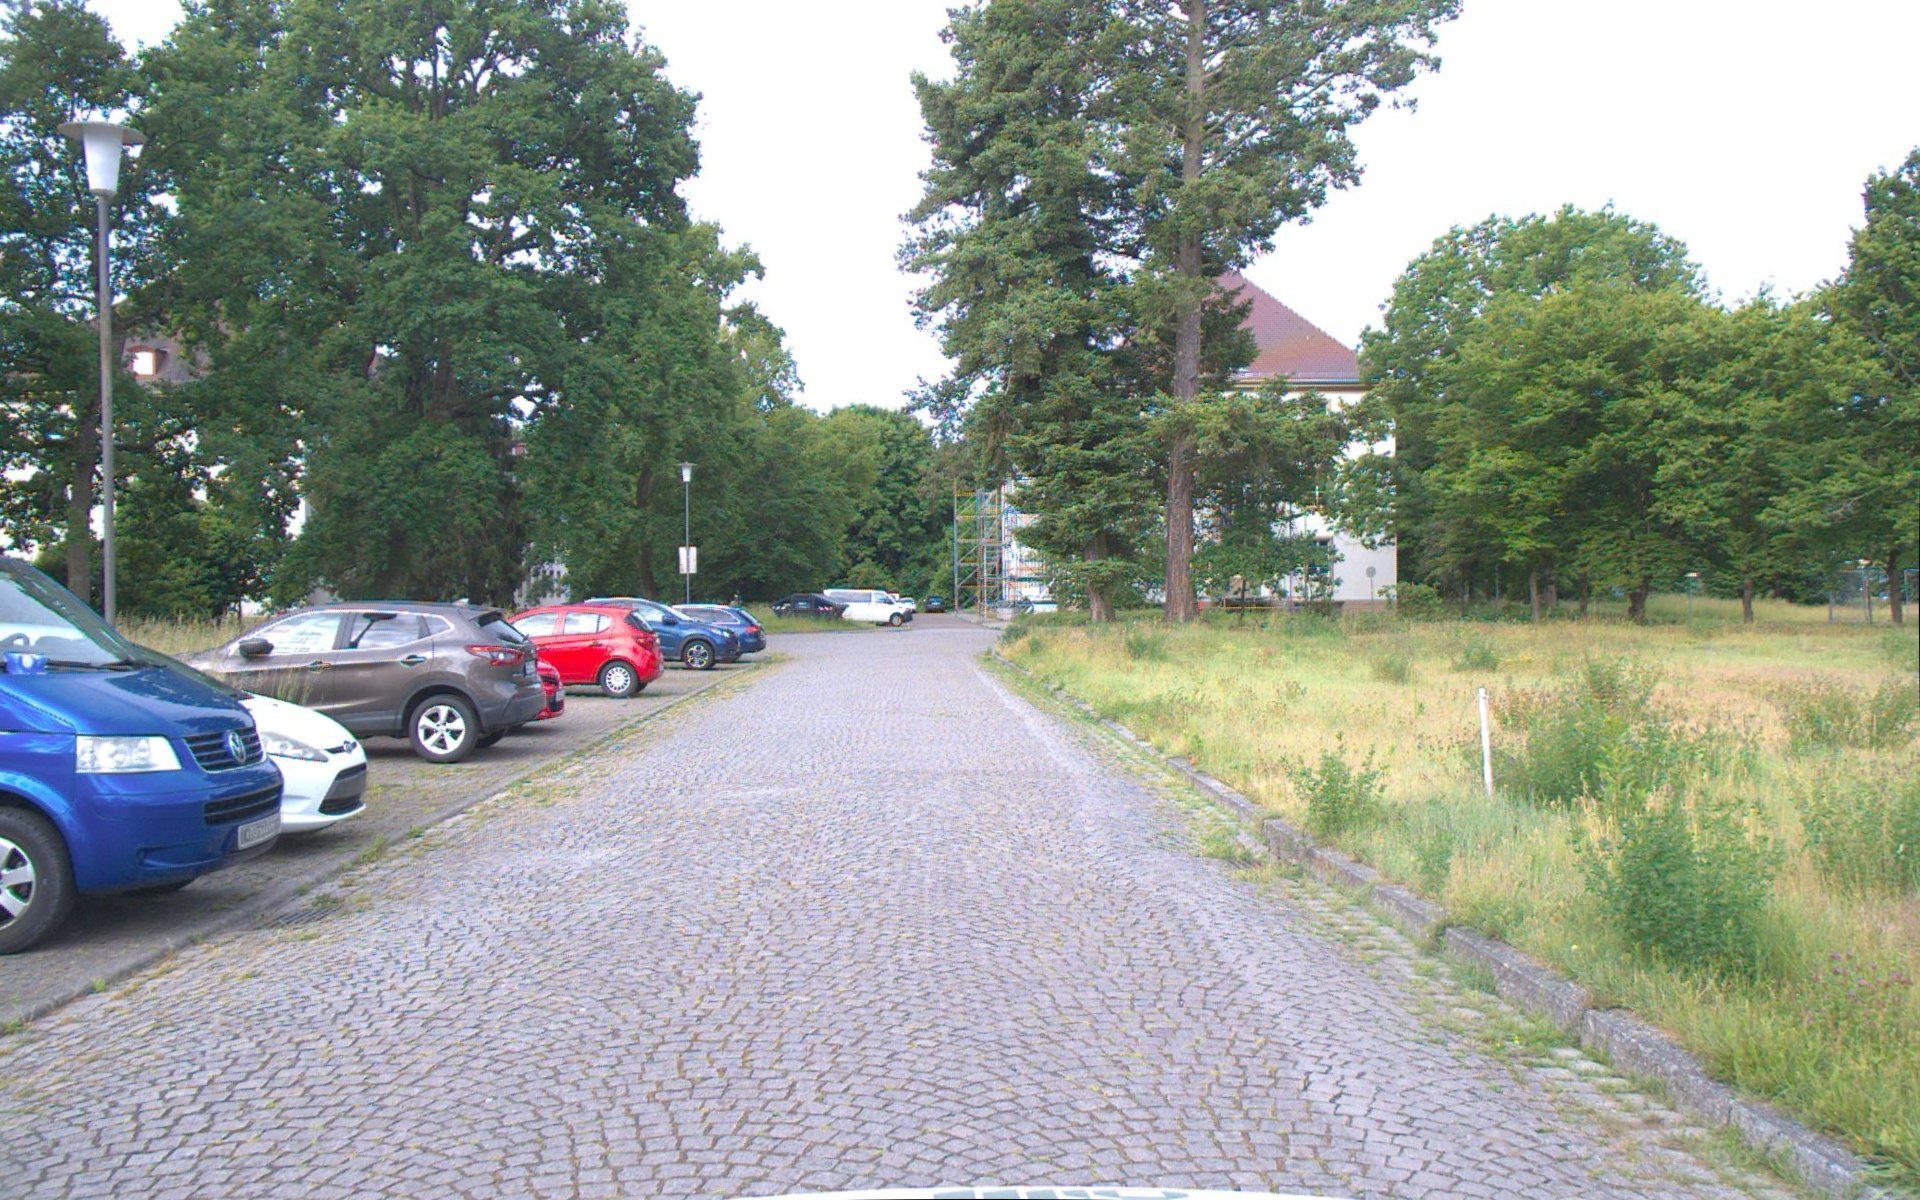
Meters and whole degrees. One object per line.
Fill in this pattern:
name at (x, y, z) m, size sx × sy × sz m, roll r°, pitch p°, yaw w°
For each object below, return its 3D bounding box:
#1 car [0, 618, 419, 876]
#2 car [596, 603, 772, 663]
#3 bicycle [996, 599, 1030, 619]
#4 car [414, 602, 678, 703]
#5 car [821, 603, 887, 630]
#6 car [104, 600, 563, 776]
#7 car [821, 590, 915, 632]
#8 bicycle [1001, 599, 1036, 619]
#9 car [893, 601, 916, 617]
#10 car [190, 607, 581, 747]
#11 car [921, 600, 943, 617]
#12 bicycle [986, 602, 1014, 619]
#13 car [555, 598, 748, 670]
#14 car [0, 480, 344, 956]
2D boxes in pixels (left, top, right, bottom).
car at (-5.960, 0.933, 11.096) m, size 4.084 × 1.536 × 1.780 m, roll -1°, pitch 0°, yaw -5°
car at (-7.060, 0.829, 42.699) m, size 4.215 × 1.486 × 1.974 m, roll 0°, pitch 0°, yaw -1°
bicycle at (3.497, 0.612, 109.218) m, size 2.194 × 1.276 × 0.777 m, roll -1°, pitch 0°, yaw 0°
car at (-6.858, 0.849, 27.730) m, size 3.975 × 1.552 × 1.903 m, roll -1°, pitch 0°, yaw -4°
car at (-6.063, 0.930, 94.179) m, size 3.715 × 1.420 × 1.998 m, roll -1°, pitch 0°, yaw -5°
car at (-6.419, 0.860, 17.372) m, size 4.085 × 1.650 × 1.985 m, roll -1°, pitch 0°, yaw -5°
car at (-5.128, 0.595, 91.627) m, size 5.132 × 2.206 × 1.998 m, roll -1°, pitch 0°, yaw -5°
bicycle at (3.707, 0.567, 104.969) m, size 2.194 × 1.276 × 0.777 m, roll -1°, pitch 0°, yaw 0°
car at (-5.266, 0.867, 157.646) m, size 2.076 × 1.548 × 3.997 m, roll -1°, pitch 0°, yaw -3°
car at (-6.851, 0.890, 20.095) m, size 4.083 × 1.536 × 1.906 m, roll -1°, pitch 0°, yaw -4°
car at (-2.655, 0.812, 158.054) m, size 1.912 × 1.548 × 3.997 m, roll -1°, pitch 0°, yaw -4°
bicycle at (3.109, 0.808, 128.282) m, size 2.194 × 1.276 × 0.627 m, roll -1°, pitch -1°, yaw 0°
car at (-7.020, 0.765, 37.969) m, size 4.144 × 1.604 × 1.886 m, roll 0°, pitch 0°, yaw -4°
car at (-5.920, 0.566, 8.509) m, size 4.687 × 2.159 × 2.114 m, roll -1°, pitch 0°, yaw -3°
